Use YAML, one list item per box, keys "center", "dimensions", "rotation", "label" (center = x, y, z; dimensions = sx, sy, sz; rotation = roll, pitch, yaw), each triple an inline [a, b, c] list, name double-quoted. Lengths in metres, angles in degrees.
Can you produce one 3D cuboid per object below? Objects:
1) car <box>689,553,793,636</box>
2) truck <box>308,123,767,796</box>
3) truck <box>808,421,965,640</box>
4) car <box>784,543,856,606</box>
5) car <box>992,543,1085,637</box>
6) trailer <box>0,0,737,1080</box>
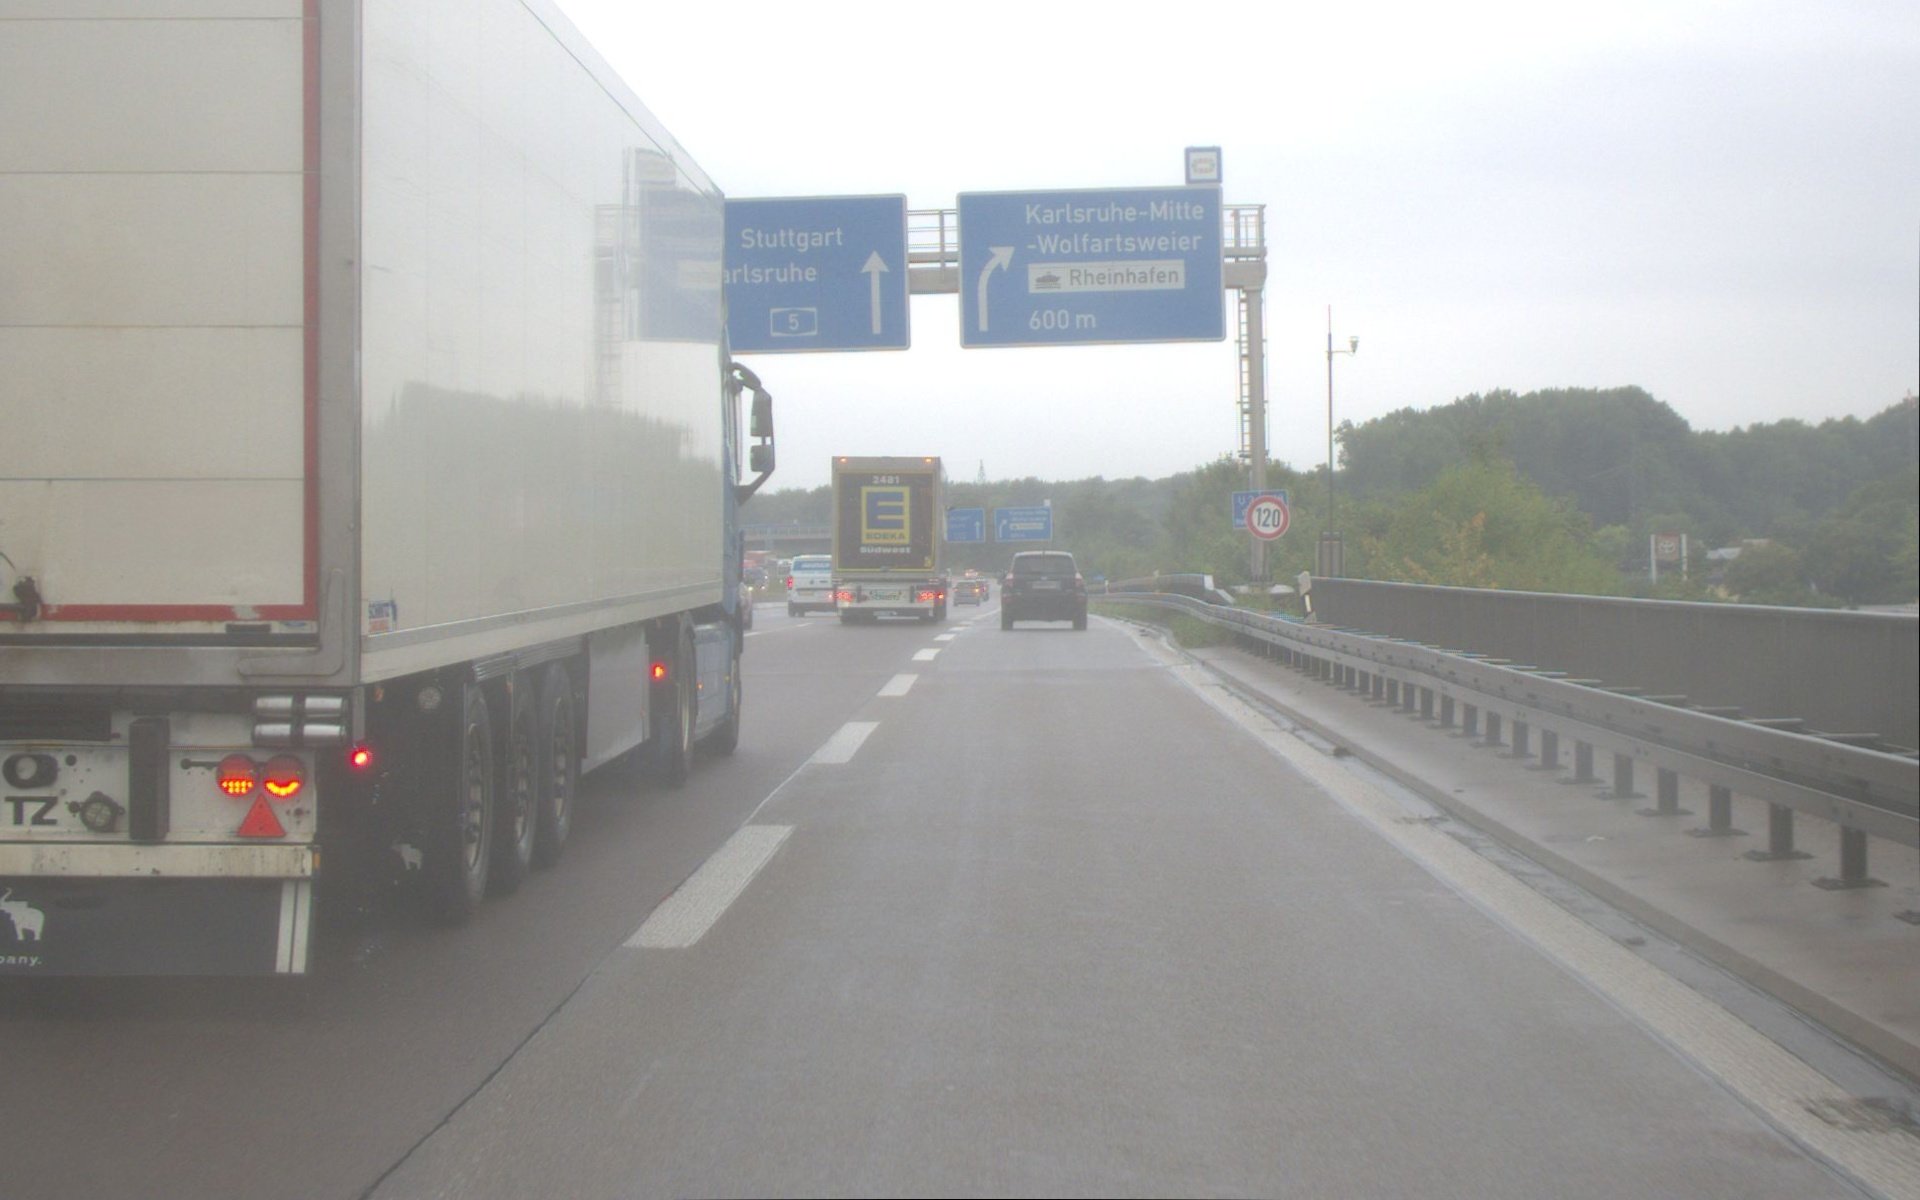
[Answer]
- center: [-4.687, -0.131, 74.103]
  dimensions: [1.894, 1.718, 4.000]
  rotation: [1, 1, 1]
  label: "car"
- center: [-2.801, -0.920, 24.481]
  dimensions: [2.342, 4.143, 6.346]
  rotation: [1, 1, 1]
  label: "truck"
- center: [-1.740, -1.712, 86.776]
  dimensions: [3.534, 5.165, 9.892]
  rotation: [1, 1, 1]
  label: "truck"
- center: [-4.433, -0.821, 109.273]
  dimensions: [2.049, 1.943, 4.000]
  rotation: [1, 1, 1]
  label: "car"
- center: [1.711, -0.236, 73.761]
  dimensions: [1.897, 1.943, 4.000]
  rotation: [1, 1, 2]
  label: "car"
- center: [-2.919, -0.823, 17.330]
  dimensions: [2.342, 4.143, 14.827]
  rotation: [1, 1, 1]
  label: "trailer"
